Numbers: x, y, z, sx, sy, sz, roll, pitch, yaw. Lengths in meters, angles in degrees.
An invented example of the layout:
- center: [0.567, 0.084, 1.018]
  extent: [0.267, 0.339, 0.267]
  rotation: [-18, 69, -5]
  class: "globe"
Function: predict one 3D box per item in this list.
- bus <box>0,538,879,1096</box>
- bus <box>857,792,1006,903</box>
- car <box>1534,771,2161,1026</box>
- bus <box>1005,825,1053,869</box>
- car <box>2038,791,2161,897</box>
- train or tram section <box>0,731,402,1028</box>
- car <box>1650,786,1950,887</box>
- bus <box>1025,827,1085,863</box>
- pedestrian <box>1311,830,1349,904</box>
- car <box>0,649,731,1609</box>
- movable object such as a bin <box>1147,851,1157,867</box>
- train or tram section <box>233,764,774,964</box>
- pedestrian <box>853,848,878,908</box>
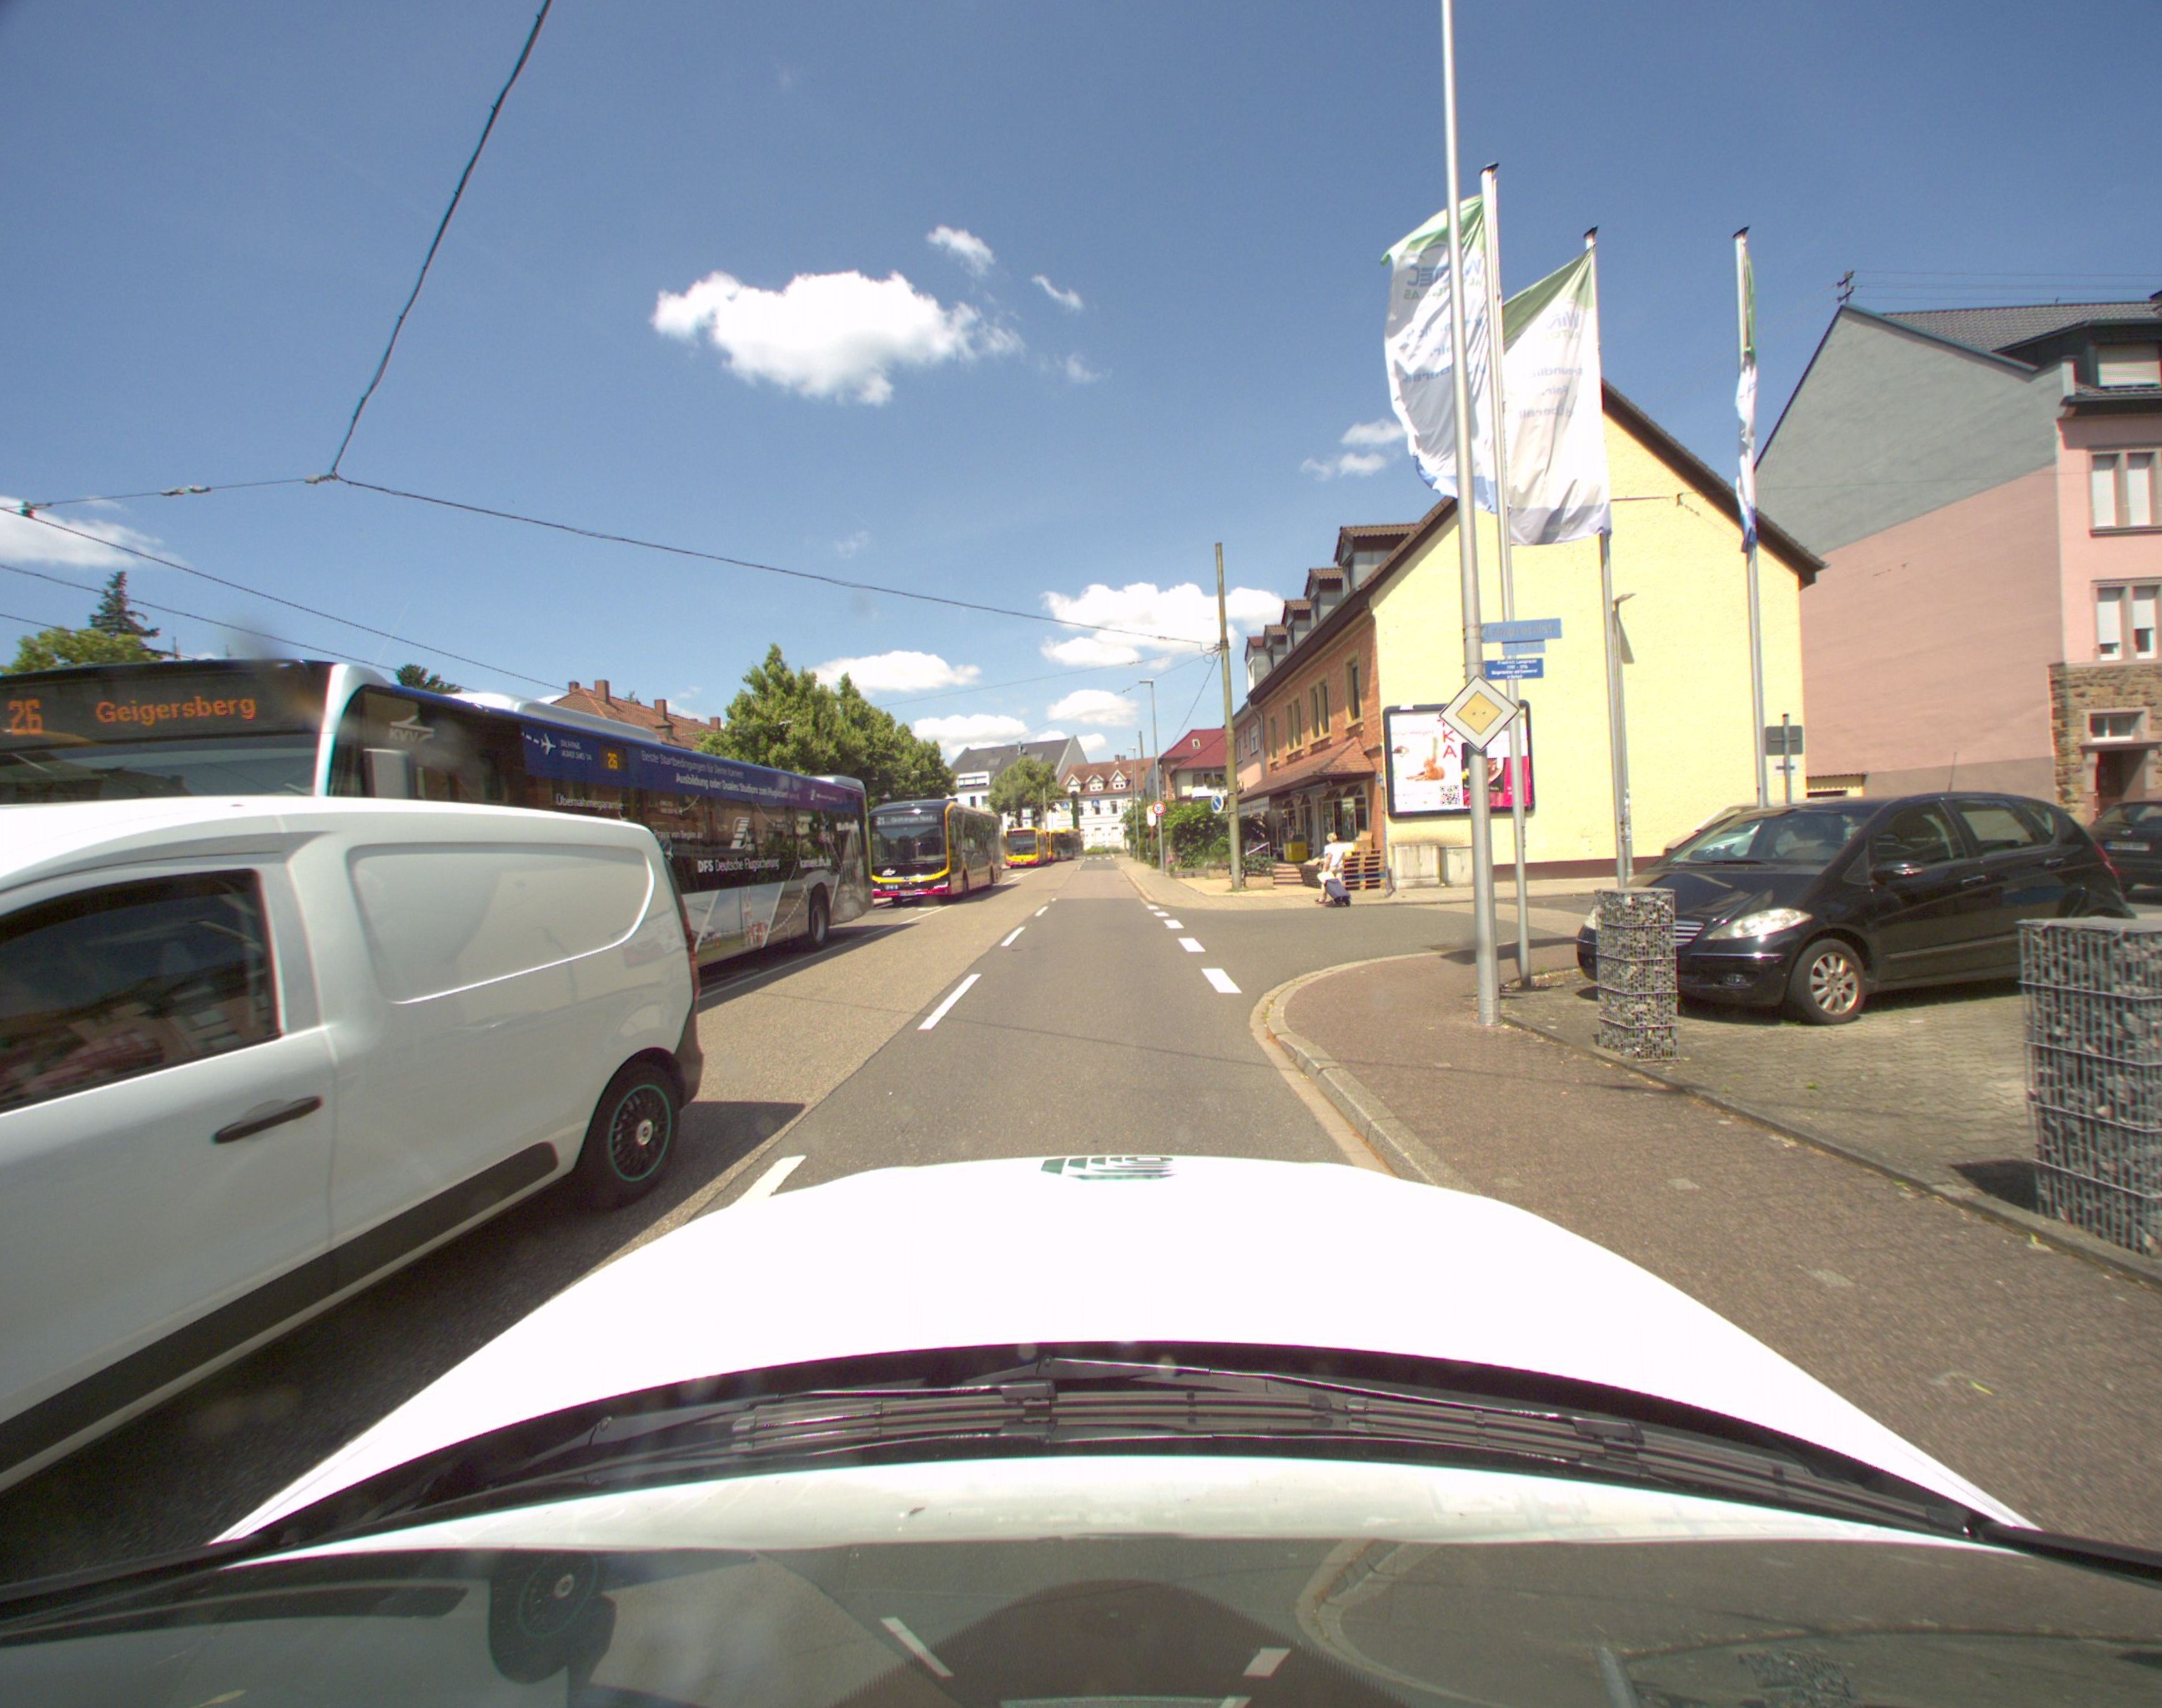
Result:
- center: [-5.799, -0.158, 11.067]
  extent: [2.898, 3.427, 12.040]
  rotation: [-1, -1, 1]
  class: "bus"
- center: [-5.040, -0.122, 30.426]
  extent: [2.887, 3.247, 12.200]
  rotation: [-1, -1, 2]
  class: "bus"
- center: [6.056, 0.263, 6.593]
  extent: [3.879, 1.543, 1.835]
  rotation: [-3, 0, -12]
  class: "car"
- center: [-4.089, -0.529, 66.621]
  extent: [2.897, 3.248, 12.120]
  rotation: [-1, 0, 1]
  class: "bus"
- center: [17.627, -0.246, 12.358]
  extent: [3.860, 1.543, 1.844]
  rotation: [-3, 0, 3]
  class: "car"
- center: [-14.252, 0.327, 8.790]
  extent: [2.952, 3.495, 12.660]
  rotation: [-1, 0, 1]
  class: "train or tram section"
- center: [15.842, -0.369, 18.113]
  extent: [5.041, 1.861, 1.907]
  rotation: [-3, -1, -3]
  class: "car"
- center: [-2.371, -0.949, 80.120]
  extent: [2.760, 3.208, 12.351]
  rotation: [-1, 1, 13]
  class: "bus"
- center: [5.753, 0.289, 18.817]
  extent: [0.699, 1.641, 0.663]
  rotation: [-3, 2, 21]
  class: "pedestrian"
- center: [-2.909, 0.547, 2.142]
  extent: [1.696, 1.851, 4.716]
  rotation: [-1, -1, 3]
  class: "car"
- center: [4.129, 0.294, 47.367]
  extent: [0.405, 0.907, 0.729]
  rotation: [-6, -1, -2]
  class: "movable object such as a bin"
- center: [-13.933, 0.146, 23.695]
  extent: [2.952, 3.642, 17.357]
  rotation: [-1, 0, 1]
  class: "train or tram section"
- center: [-6.467, 0.714, 24.426]
  extent: [0.597, 1.777, 0.381]
  rotation: [0, -1, -41]
  class: "pedestrian"
